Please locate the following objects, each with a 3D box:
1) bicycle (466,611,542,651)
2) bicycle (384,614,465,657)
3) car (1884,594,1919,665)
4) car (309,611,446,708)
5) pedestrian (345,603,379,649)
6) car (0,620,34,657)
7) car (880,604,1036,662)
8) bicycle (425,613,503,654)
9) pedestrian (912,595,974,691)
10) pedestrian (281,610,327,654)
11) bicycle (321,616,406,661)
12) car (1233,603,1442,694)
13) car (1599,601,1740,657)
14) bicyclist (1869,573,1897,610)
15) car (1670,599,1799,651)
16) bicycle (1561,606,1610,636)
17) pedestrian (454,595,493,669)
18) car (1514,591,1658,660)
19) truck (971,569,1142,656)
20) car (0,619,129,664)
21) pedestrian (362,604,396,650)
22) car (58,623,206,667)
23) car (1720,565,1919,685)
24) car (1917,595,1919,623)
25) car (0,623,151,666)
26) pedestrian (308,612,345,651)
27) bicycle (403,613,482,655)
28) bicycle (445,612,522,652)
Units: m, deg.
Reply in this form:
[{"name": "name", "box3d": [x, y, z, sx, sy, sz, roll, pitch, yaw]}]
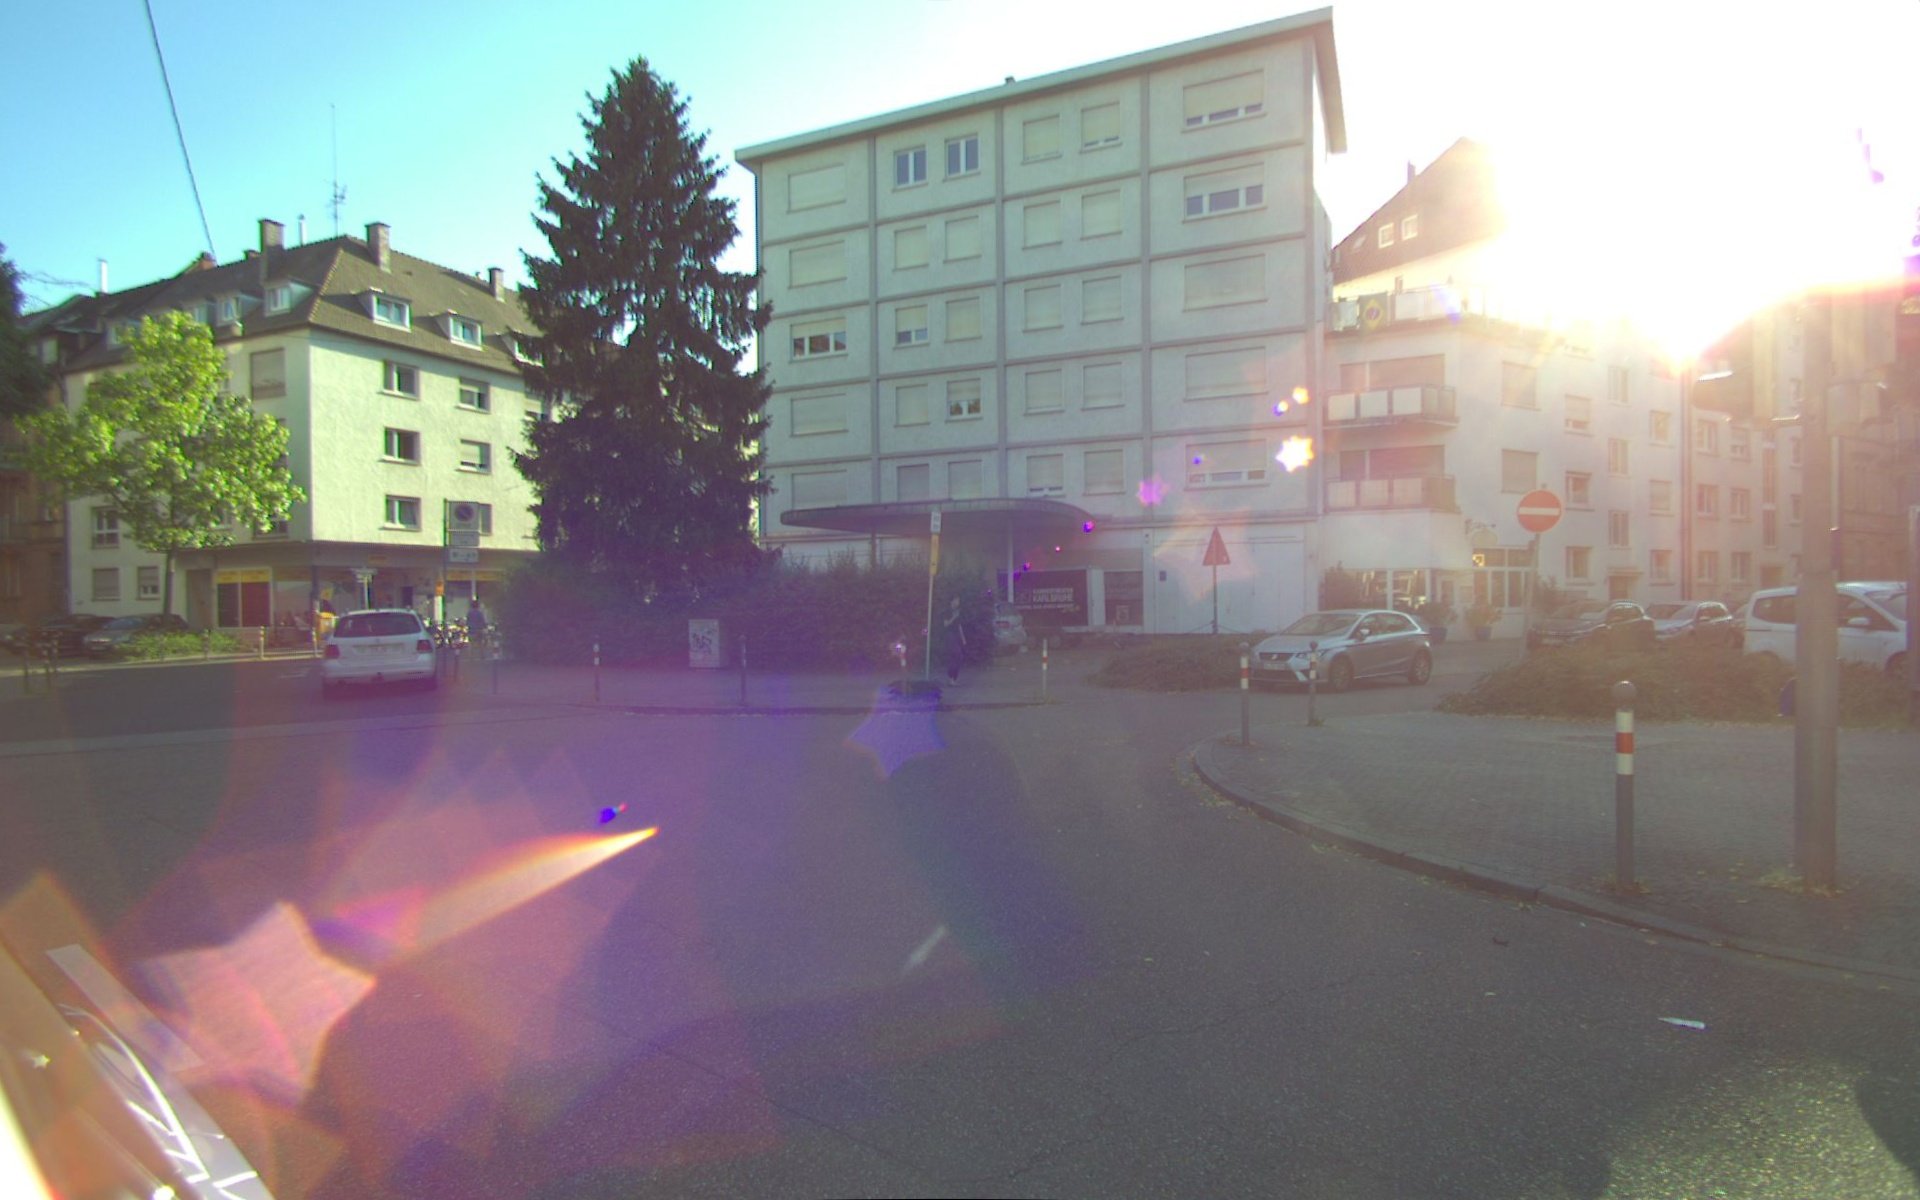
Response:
[{"name": "bicycle", "box3d": [-18.212, 1.229, 40.397, 3.363, 1.456, 0.873, 1, 0, 28]}, {"name": "bicycle", "box3d": [-19.515, 1.266, 36.832, 3.363, 1.456, 0.873, 0, 0, 28]}, {"name": "car", "box3d": [21.446, 0.489, 20.228, 1.582, 1.519, 4.247, -2, -4, -7]}, {"name": "car", "box3d": [-10.491, 0.978, 18.385, 1.890, 1.461, 4.309, -2, 0, -29]}, {"name": "pedestrian", "box3d": [-25.095, 1.090, 42.493, 0.847, 1.889, 0.884, -1, -1, 24]}, {"name": "car", "box3d": [-40.531, 1.621, 41.406, 1.845, 1.516, 4.004, -1, 0, -5]}, {"name": "car", "box3d": [-0.060, 0.923, 28.844, 3.982, 1.544, 1.981, -1, -1, 28]}, {"name": "bicycle", "box3d": [-19.057, 1.252, 38.838, 3.363, 1.456, 0.873, 1, 0, 28]}, {"name": "pedestrian", "box3d": [-0.327, 0.783, 19.002, 0.856, 1.749, 0.833, -1, 1, -32]}, {"name": "pedestrian", "box3d": [-26.107, 1.267, 40.277, 0.958, 1.679, 1.205, -1, -1, 25]}, {"name": "bicycle", "box3d": [-20.416, 1.287, 34.588, 3.363, 1.456, 0.873, 0, 0, 28]}, {"name": "car", "box3d": [7.076, 0.852, 18.831, 3.934, 1.457, 1.720, -1, -1, -36]}, {"name": "car", "box3d": [20.535, 0.815, 29.266, 3.931, 1.457, 1.721, -1, -1, -29]}, {"name": "bicyclist", "box3d": [41.655, -0.375, 45.675, 0.711, 1.629, 0.716, -1, -1, -31]}, {"name": "car", "box3d": [24.085, 0.754, 31.456, 3.931, 1.457, 1.721, -1, -1, -29]}, {"name": "bicycle", "box3d": [22.345, 0.737, 36.137, 2.139, 1.011, 0.535, -1, 0, -31]}, {"name": "pedestrian", "box3d": [-13.678, 0.891, 28.445, 0.848, 2.029, 0.988, -1, -1, -32]}, {"name": "car", "box3d": [16.679, 0.646, 26.916, 3.933, 1.686, 1.721, -1, -1, -34]}, {"name": "truck", "box3d": [2.999, 0.406, 31.691, 4.943, 2.554, 1.983, -1, -1, 25]}, {"name": "car", "box3d": [-34.948, 1.584, 39.223, 1.853, 1.580, 3.988, -1, 0, 10]}, {"name": "pedestrian", "box3d": [-24.250, 1.101, 42.226, 0.847, 1.889, 0.884, -1, -1, 24]}, {"name": "car", "box3d": [-29.928, 1.596, 36.751, 1.851, 1.410, 3.991, -1, 0, 7]}, {"name": "car", "box3d": [14.170, 0.404, 15.544, 1.585, 1.665, 4.241, -3, -4, -1]}, {"name": "car", "box3d": [23.985, 0.426, 22.162, 1.582, 1.470, 4.247, -2, -4, -7]}, {"name": "car", "box3d": [-32.343, 1.602, 37.166, 1.851, 1.410, 3.991, -1, 0, 7]}, {"name": "pedestrian", "box3d": [-26.063, 1.285, 41.631, 0.886, 1.581, 0.955, -1, -1, 26]}, {"name": "bicycle", "box3d": [-19.413, 1.248, 37.953, 3.363, 1.456, 0.873, 1, 0, 28]}, {"name": "bicycle", "box3d": [-18.642, 1.233, 39.590, 3.363, 1.456, 0.873, 1, 0, 28]}]
